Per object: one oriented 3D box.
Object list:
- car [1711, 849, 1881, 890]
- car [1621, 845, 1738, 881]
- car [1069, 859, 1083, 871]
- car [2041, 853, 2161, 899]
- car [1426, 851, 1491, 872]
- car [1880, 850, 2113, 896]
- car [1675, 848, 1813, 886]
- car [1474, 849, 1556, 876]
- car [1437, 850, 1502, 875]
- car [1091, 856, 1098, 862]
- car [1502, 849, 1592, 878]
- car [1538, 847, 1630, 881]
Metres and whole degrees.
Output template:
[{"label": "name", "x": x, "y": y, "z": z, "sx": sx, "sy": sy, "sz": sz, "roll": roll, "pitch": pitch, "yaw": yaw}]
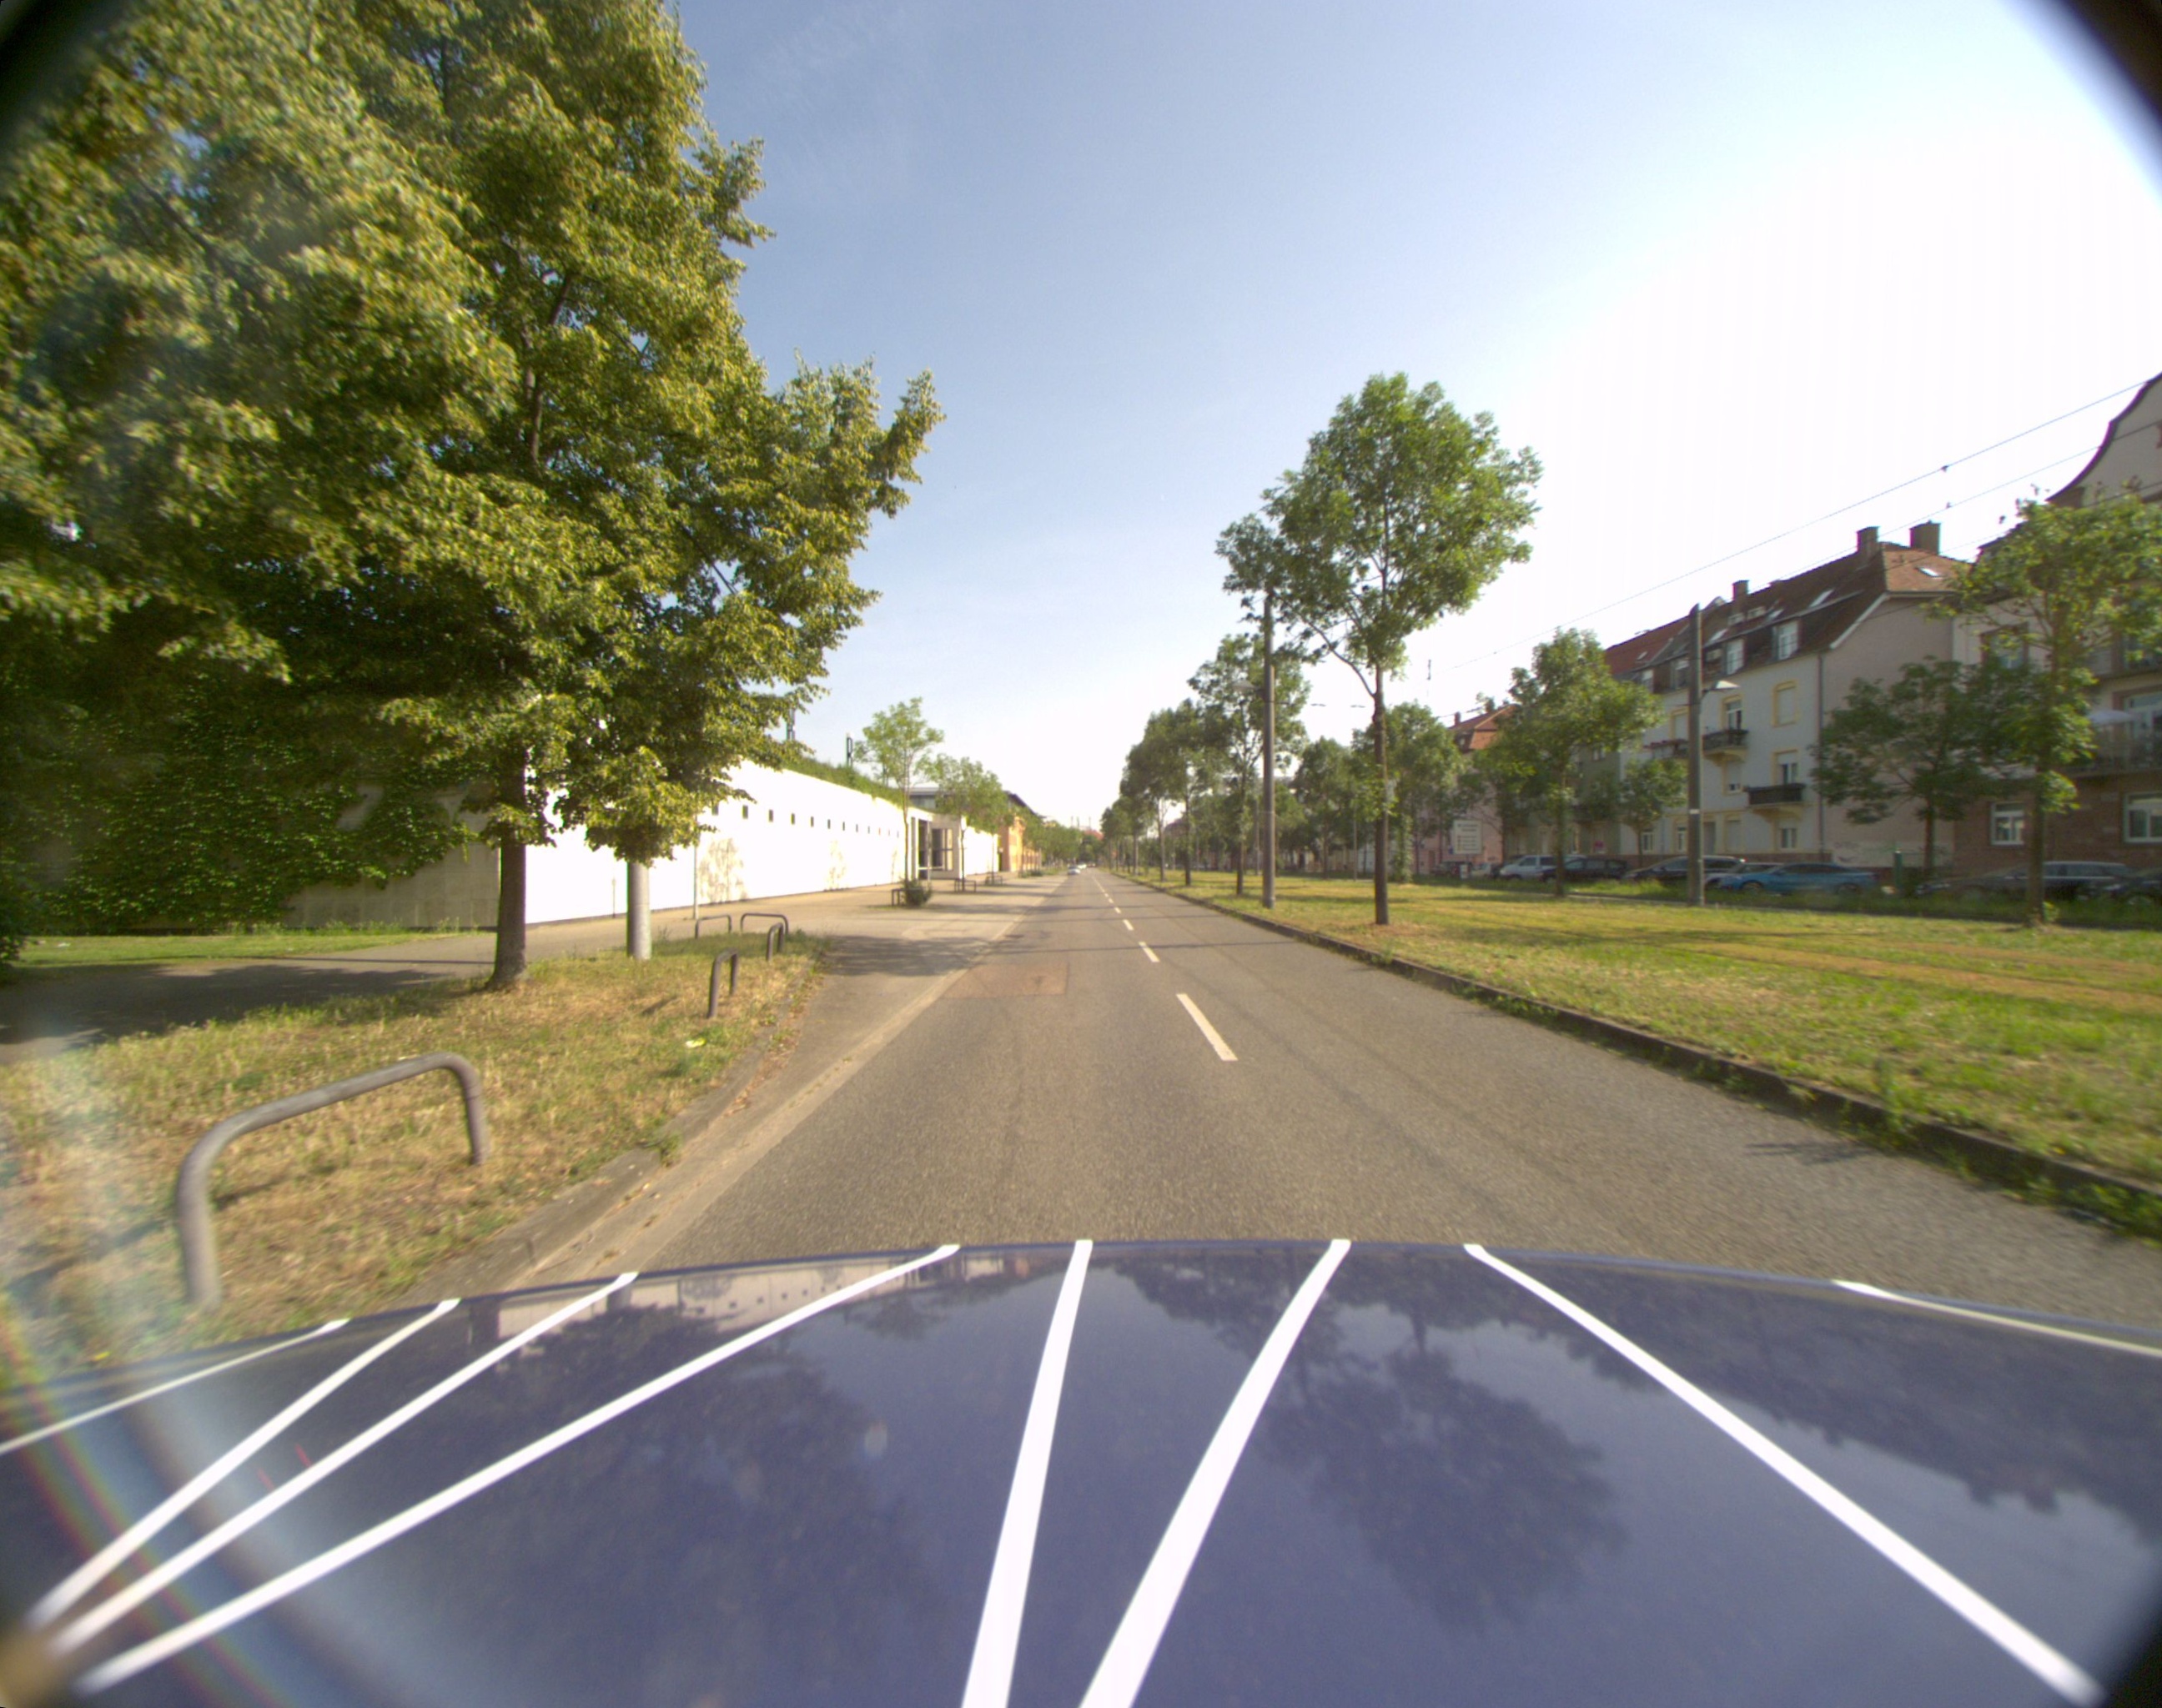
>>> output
[{"label": "car", "x": 27.723, "y": 0.627, "z": 29.695, "sx": 4.503, "sy": 1.432, "sz": 2.003, "roll": -2, "pitch": 1, "yaw": 32}, {"label": "car", "x": 27.916, "y": 0.434, "z": 35.609, "sx": 4.053, "sy": 1.545, "sz": 1.919, "roll": -2, "pitch": 1, "yaw": 31}, {"label": "car", "x": -0.730, "y": 1.641, "z": 114.362, "sx": 1.998, "sy": 1.652, "sz": 4.000, "roll": -1, "pitch": 0, "yaw": 0}, {"label": "car", "x": 28.388, "y": 0.553, "z": 19.769, "sx": 3.840, "sy": 1.121, "sz": 1.772, "roll": -2, "pitch": 1, "yaw": 32}, {"label": "car", "x": 29.747, "y": 0.585, "z": 59.893, "sx": 4.490, "sy": 1.482, "sz": 2.003, "roll": -2, "pitch": 1, "yaw": 29}, {"label": "car", "x": 28.837, "y": 0.612, "z": 24.188, "sx": 4.332, "sy": 1.318, "sz": 2.003, "roll": -2, "pitch": 1, "yaw": 32}, {"label": "car", "x": 28.137, "y": 0.564, "z": 32.459, "sx": 4.182, "sy": 1.494, "sz": 1.945, "roll": -2, "pitch": 1, "yaw": 33}, {"label": "car", "x": 27.883, "y": 0.562, "z": 48.953, "sx": 4.490, "sy": 1.550, "sz": 2.003, "roll": -2, "pitch": 1, "yaw": 29}, {"label": "car", "x": 28.237, "y": 0.597, "z": 55.369, "sx": 4.138, "sy": 1.648, "sz": 2.003, "roll": -2, "pitch": 1, "yaw": 24}, {"label": "car", "x": 4.297, "y": 1.617, "z": 243.651, "sx": 1.998, "sy": 1.652, "sz": 4.000, "roll": -1, "pitch": 0, "yaw": 0}, {"label": "car", "x": 27.908, "y": 0.575, "z": 45.642, "sx": 4.490, "sy": 1.596, "sz": 2.003, "roll": -2, "pitch": 1, "yaw": 29}, {"label": "car", "x": 27.206, "y": 0.555, "z": 41.254, "sx": 3.990, "sy": 1.696, "sz": 1.878, "roll": -2, "pitch": 1, "yaw": 29}]
